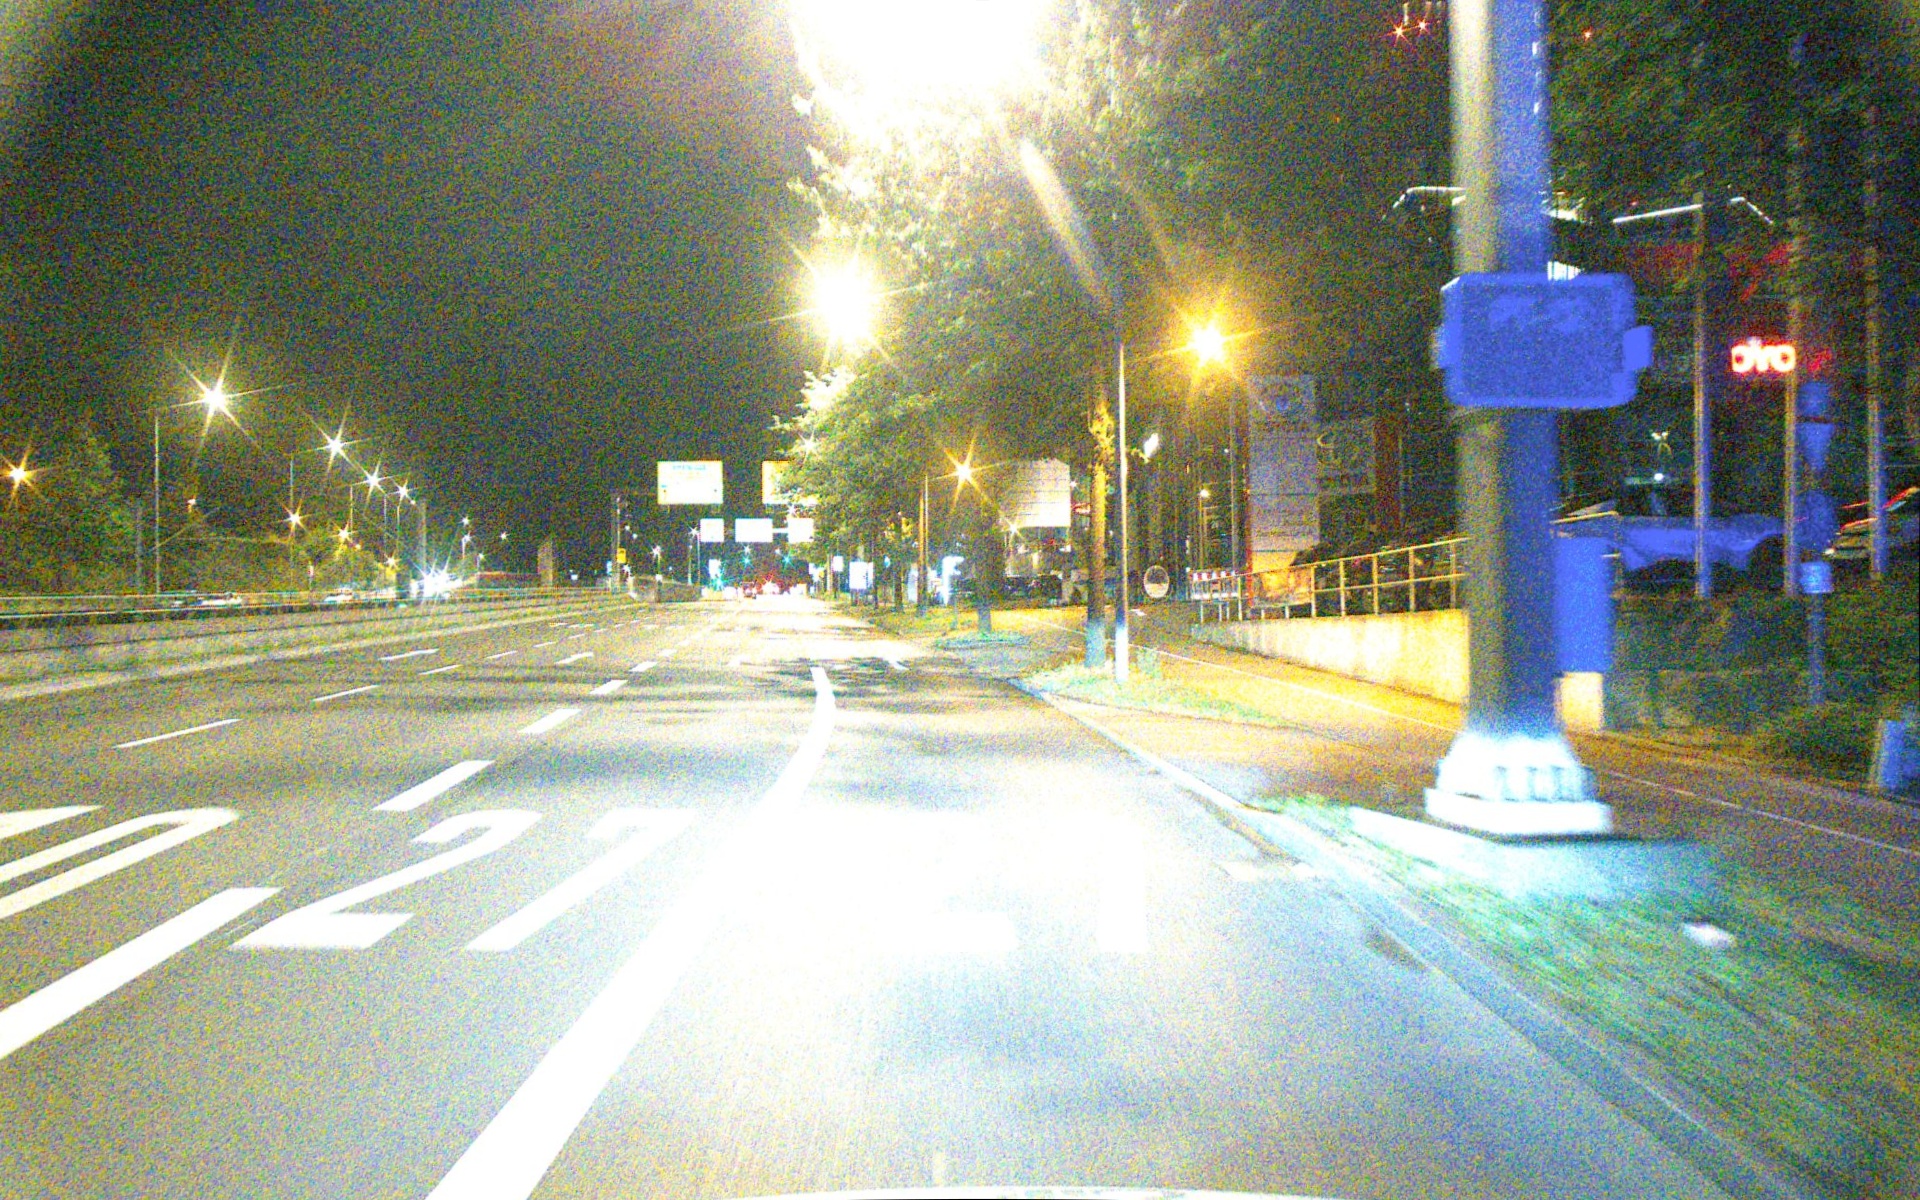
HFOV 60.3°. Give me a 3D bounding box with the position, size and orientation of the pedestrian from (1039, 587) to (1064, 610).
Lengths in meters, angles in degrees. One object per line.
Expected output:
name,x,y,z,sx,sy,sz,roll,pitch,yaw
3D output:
pedestrian,4.342,-0.059,78.449,0.896,1.056,0.768,-1,-1,37

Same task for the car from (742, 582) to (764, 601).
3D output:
car,-20.347,-0.808,162.572,1.929,1.741,3.996,1,-1,-4

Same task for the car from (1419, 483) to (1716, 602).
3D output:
car,9.342,-0.867,25.596,3.909,1.599,1.736,-2,-1,-5

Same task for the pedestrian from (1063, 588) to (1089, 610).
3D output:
pedestrian,5.514,-0.044,78.530,0.984,1.025,0.766,2,-2,-22

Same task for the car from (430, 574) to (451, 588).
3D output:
car,-61.052,-2.195,194.303,1.594,1.507,3.674,1,-1,-5

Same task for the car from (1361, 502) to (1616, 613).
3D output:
car,8.947,-0.706,28.162,3.677,1.615,1.777,-3,-1,-8

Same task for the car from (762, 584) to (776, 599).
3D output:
car,-27.288,-1.204,236.069,1.955,2.049,3.994,1,-1,-7

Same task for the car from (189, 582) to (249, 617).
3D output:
car,-39.370,0.002,88.012,1.797,1.714,3.993,1,-1,-8

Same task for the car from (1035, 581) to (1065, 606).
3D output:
car,5.918,-0.395,109.131,1.853,1.538,3.636,1,-1,1

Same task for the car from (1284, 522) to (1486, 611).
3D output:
car,8.494,-0.664,33.167,3.498,1.597,1.722,-2,-1,-11

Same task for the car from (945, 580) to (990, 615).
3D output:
car,0.488,-0.109,100.460,1.951,1.979,4.003,1,-1,11

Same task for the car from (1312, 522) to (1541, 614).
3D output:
car,8.592,-0.576,30.595,3.655,1.515,1.739,-2,-1,-8

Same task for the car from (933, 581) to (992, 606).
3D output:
car,0.158,-0.424,105.377,3.558,1.477,1.703,1,-1,-10

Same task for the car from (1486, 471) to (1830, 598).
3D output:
car,9.747,-0.897,23.279,4.039,1.549,1.820,-2,-2,-5

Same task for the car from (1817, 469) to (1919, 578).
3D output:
car,17.788,-1.441,29.274,4.274,1.755,1.749,-4,-1,-4

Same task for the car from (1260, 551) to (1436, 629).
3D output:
car,8.619,-0.224,36.630,3.803,1.516,1.717,-2,-2,-37

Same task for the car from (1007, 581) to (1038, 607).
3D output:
car,4.036,-0.368,107.530,1.853,1.538,3.636,1,-1,1

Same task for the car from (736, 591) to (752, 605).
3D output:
car,-28.430,-0.257,217.390,1.955,1.624,3.994,0,-1,-6

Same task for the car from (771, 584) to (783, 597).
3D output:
car,-26.848,-1.456,242.866,1.747,1.758,3.994,1,-1,-7
